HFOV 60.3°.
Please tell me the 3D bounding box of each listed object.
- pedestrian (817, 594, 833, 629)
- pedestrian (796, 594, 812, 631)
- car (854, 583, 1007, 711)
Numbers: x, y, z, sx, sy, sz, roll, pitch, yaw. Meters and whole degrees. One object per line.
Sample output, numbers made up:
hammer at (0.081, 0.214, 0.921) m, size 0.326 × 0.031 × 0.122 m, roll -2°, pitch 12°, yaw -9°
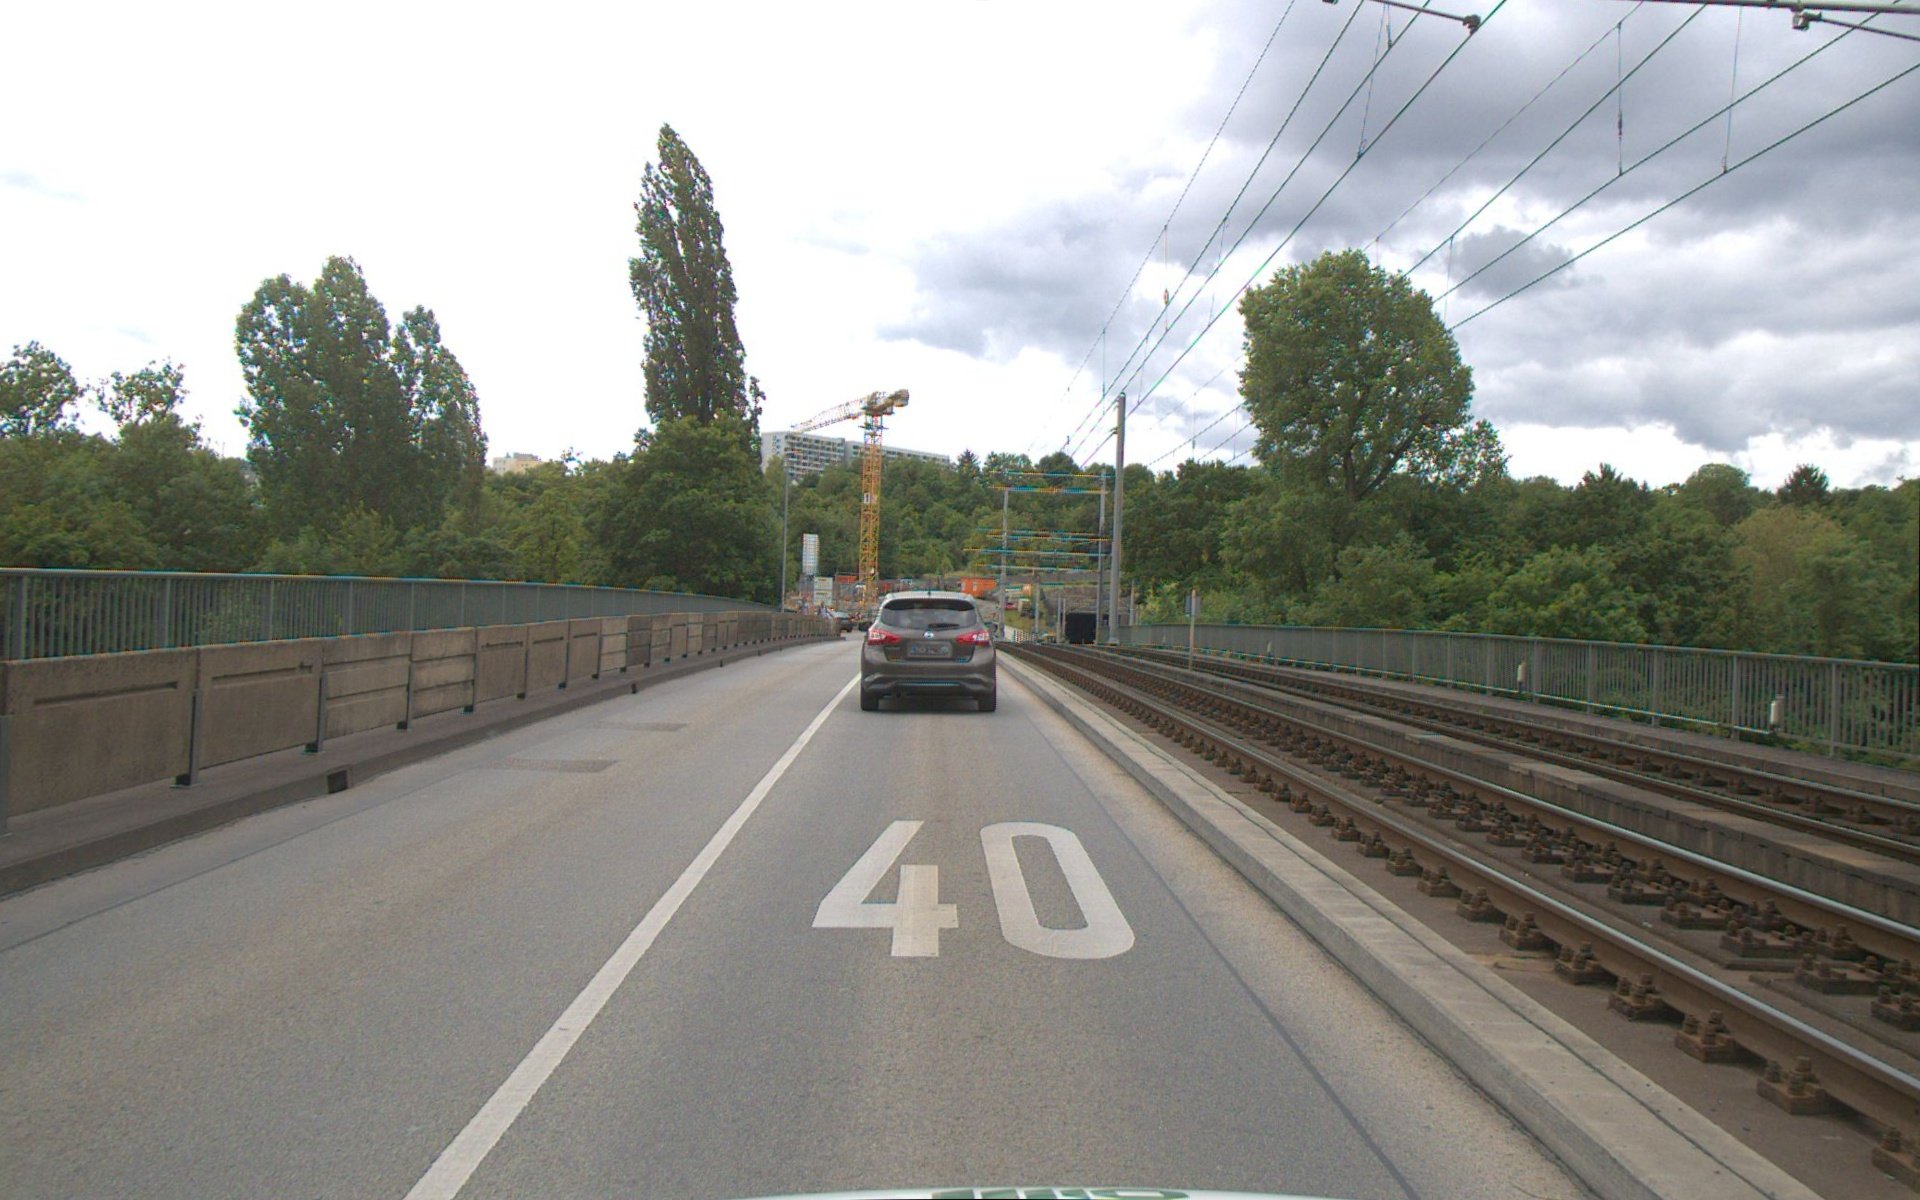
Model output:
pedestrian at (-6.760, 0.595, 82.660) m, size 0.706 × 1.731 × 0.723 m, roll 2°, pitch -1°, yaw -1°
pedestrian at (-7.891, 0.634, 83.457) m, size 0.706 × 1.872 × 0.723 m, roll 2°, pitch -1°, yaw -1°
car at (-0.488, 0.624, 22.292) m, size 1.794 × 1.536 × 3.996 m, roll 1°, pitch -1°, yaw -5°
